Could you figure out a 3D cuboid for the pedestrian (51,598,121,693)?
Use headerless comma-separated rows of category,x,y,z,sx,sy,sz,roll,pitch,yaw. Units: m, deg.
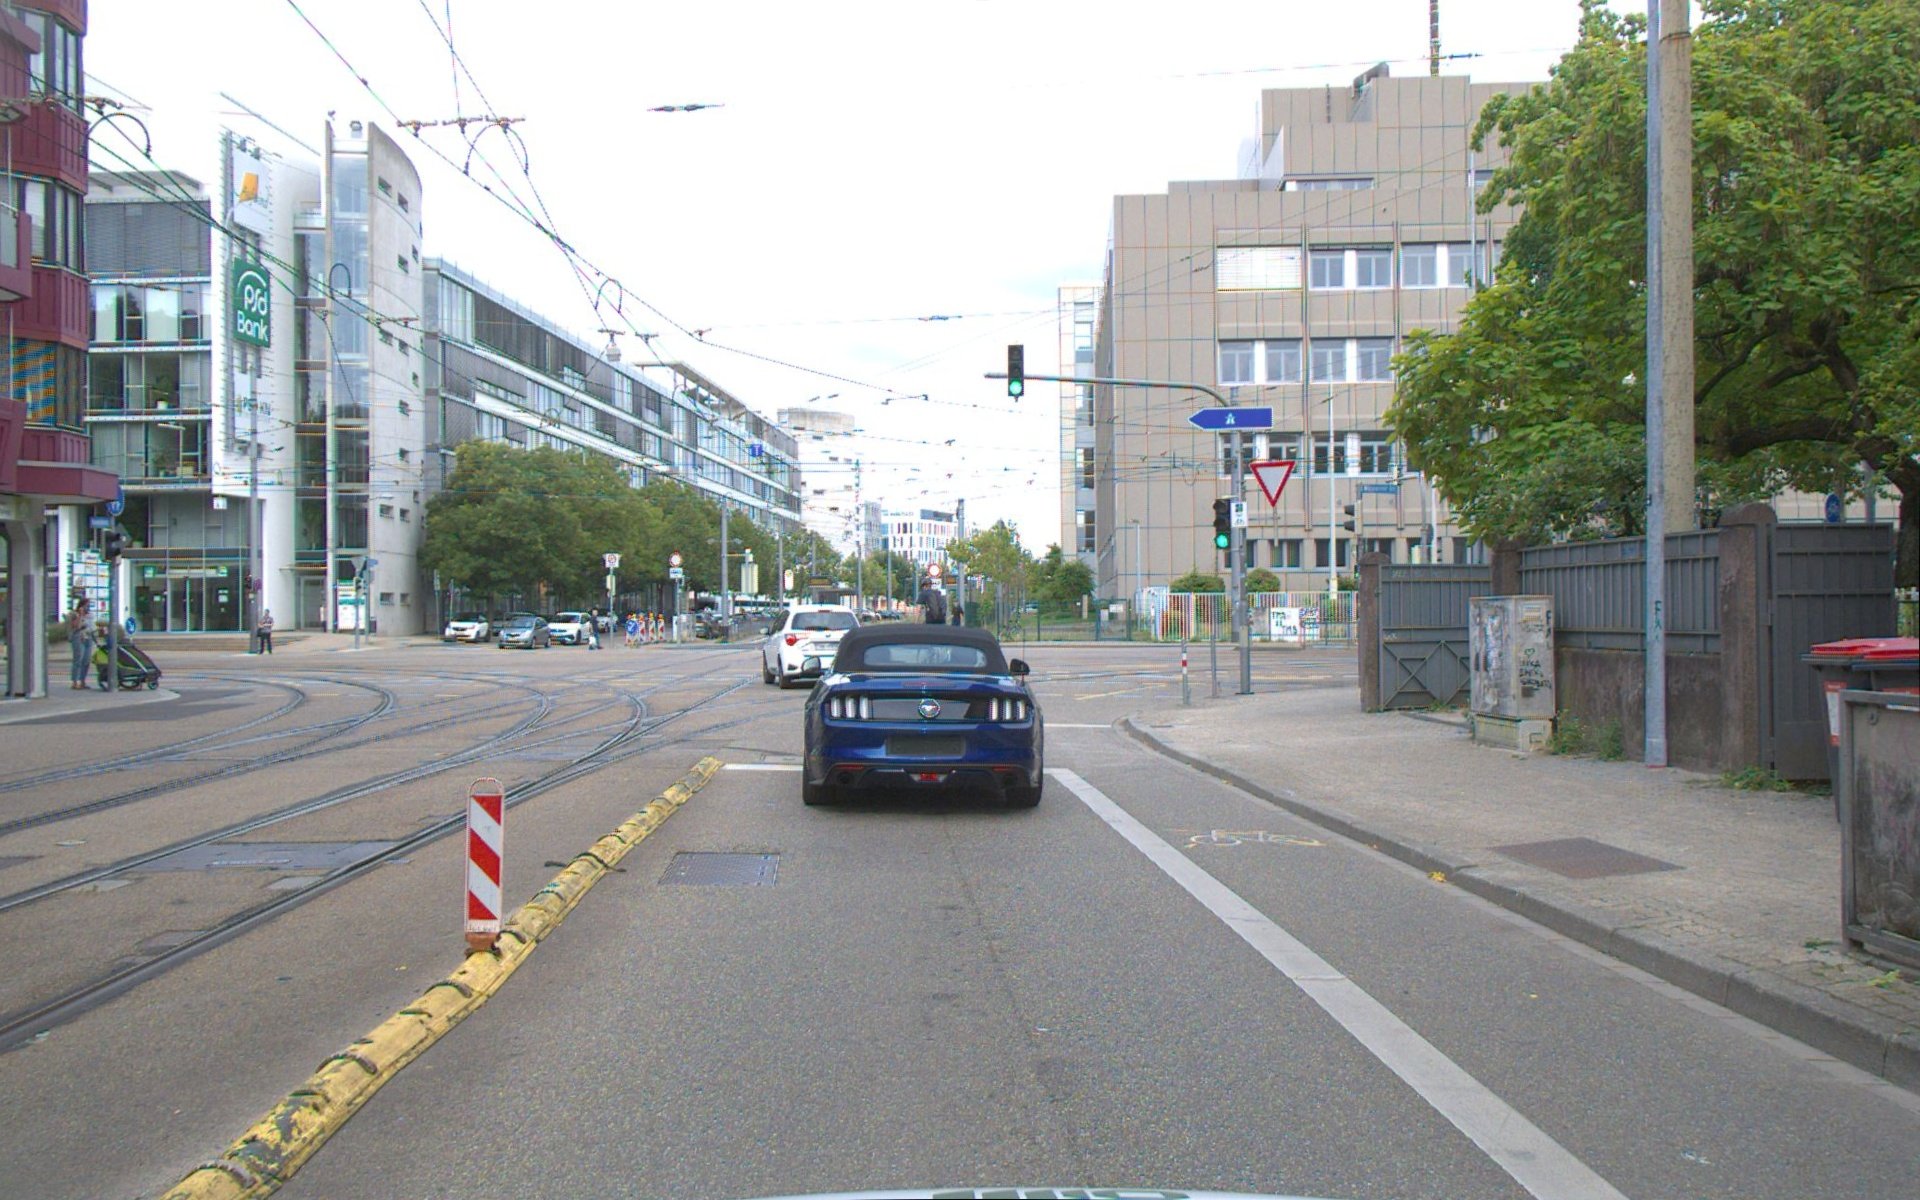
pedestrian,-16.769,0.862,31.762,0.929,1.774,0.811,-1,-1,-5

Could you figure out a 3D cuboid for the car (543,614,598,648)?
car,-20.450,1.596,86.966,1.679,1.689,4.134,1,0,3

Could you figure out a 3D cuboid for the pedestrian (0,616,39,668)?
pedestrian,-31.038,1.374,54.515,0.915,1.700,0.766,-1,-1,11

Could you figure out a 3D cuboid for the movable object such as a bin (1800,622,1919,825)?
movable object such as a bin,5.485,0.703,9.724,0.638,1.101,0.677,-4,-1,-6

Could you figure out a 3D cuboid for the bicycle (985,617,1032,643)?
bicycle,2.037,1.259,69.904,0.629,0.998,2.124,0,-3,-43

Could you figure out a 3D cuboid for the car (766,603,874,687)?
car,-2.727,0.813,31.414,1.801,1.464,4.179,-1,0,-8

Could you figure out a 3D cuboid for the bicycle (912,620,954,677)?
bicycle,-0.564,0.975,34.028,0.784,1.105,2.130,-1,0,-3

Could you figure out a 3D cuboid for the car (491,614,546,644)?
car,-25.125,1.643,94.299,1.791,1.584,4.218,1,0,3

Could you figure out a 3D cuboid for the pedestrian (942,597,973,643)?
pedestrian,-0.104,0.833,69.949,1.063,1.931,0.902,-1,-1,22

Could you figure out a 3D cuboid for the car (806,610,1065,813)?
car,-0.291,0.815,13.949,1.839,1.428,4.279,1,0,-3

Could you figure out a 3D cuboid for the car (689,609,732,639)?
car,-14.157,1.360,93.956,1.841,1.657,4.085,-1,0,-1

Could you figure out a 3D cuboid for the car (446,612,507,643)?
car,-25.484,1.433,87.333,1.791,1.584,4.218,1,0,3

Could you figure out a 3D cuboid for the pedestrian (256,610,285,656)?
pedestrian,-28.559,1.360,68.487,0.816,1.898,0.766,-1,-1,11

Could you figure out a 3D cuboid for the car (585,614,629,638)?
car,-24.056,1.756,112.820,1.945,1.584,4.512,1,0,0

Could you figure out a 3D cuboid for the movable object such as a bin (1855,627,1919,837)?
movable object such as a bin,5.444,0.702,9.007,0.650,1.101,0.700,-4,-1,-6

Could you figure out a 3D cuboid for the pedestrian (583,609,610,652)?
pedestrian,-16.170,1.359,73.520,0.968,1.888,0.902,-1,-1,1

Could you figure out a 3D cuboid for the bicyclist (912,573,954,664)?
bicyclist,-0.562,0.374,34.071,0.780,1.817,1.232,-1,-1,-3

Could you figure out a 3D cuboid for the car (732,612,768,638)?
car,-13.636,1.634,107.500,1.830,1.634,4.211,-1,0,-1

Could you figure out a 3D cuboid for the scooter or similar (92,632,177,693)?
scooter or similar,-15.891,1.189,31.853,1.172,1.148,0.946,0,0,-4

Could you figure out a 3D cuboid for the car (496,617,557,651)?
car,-20.801,1.627,79.510,1.633,1.533,4.236,1,0,3
